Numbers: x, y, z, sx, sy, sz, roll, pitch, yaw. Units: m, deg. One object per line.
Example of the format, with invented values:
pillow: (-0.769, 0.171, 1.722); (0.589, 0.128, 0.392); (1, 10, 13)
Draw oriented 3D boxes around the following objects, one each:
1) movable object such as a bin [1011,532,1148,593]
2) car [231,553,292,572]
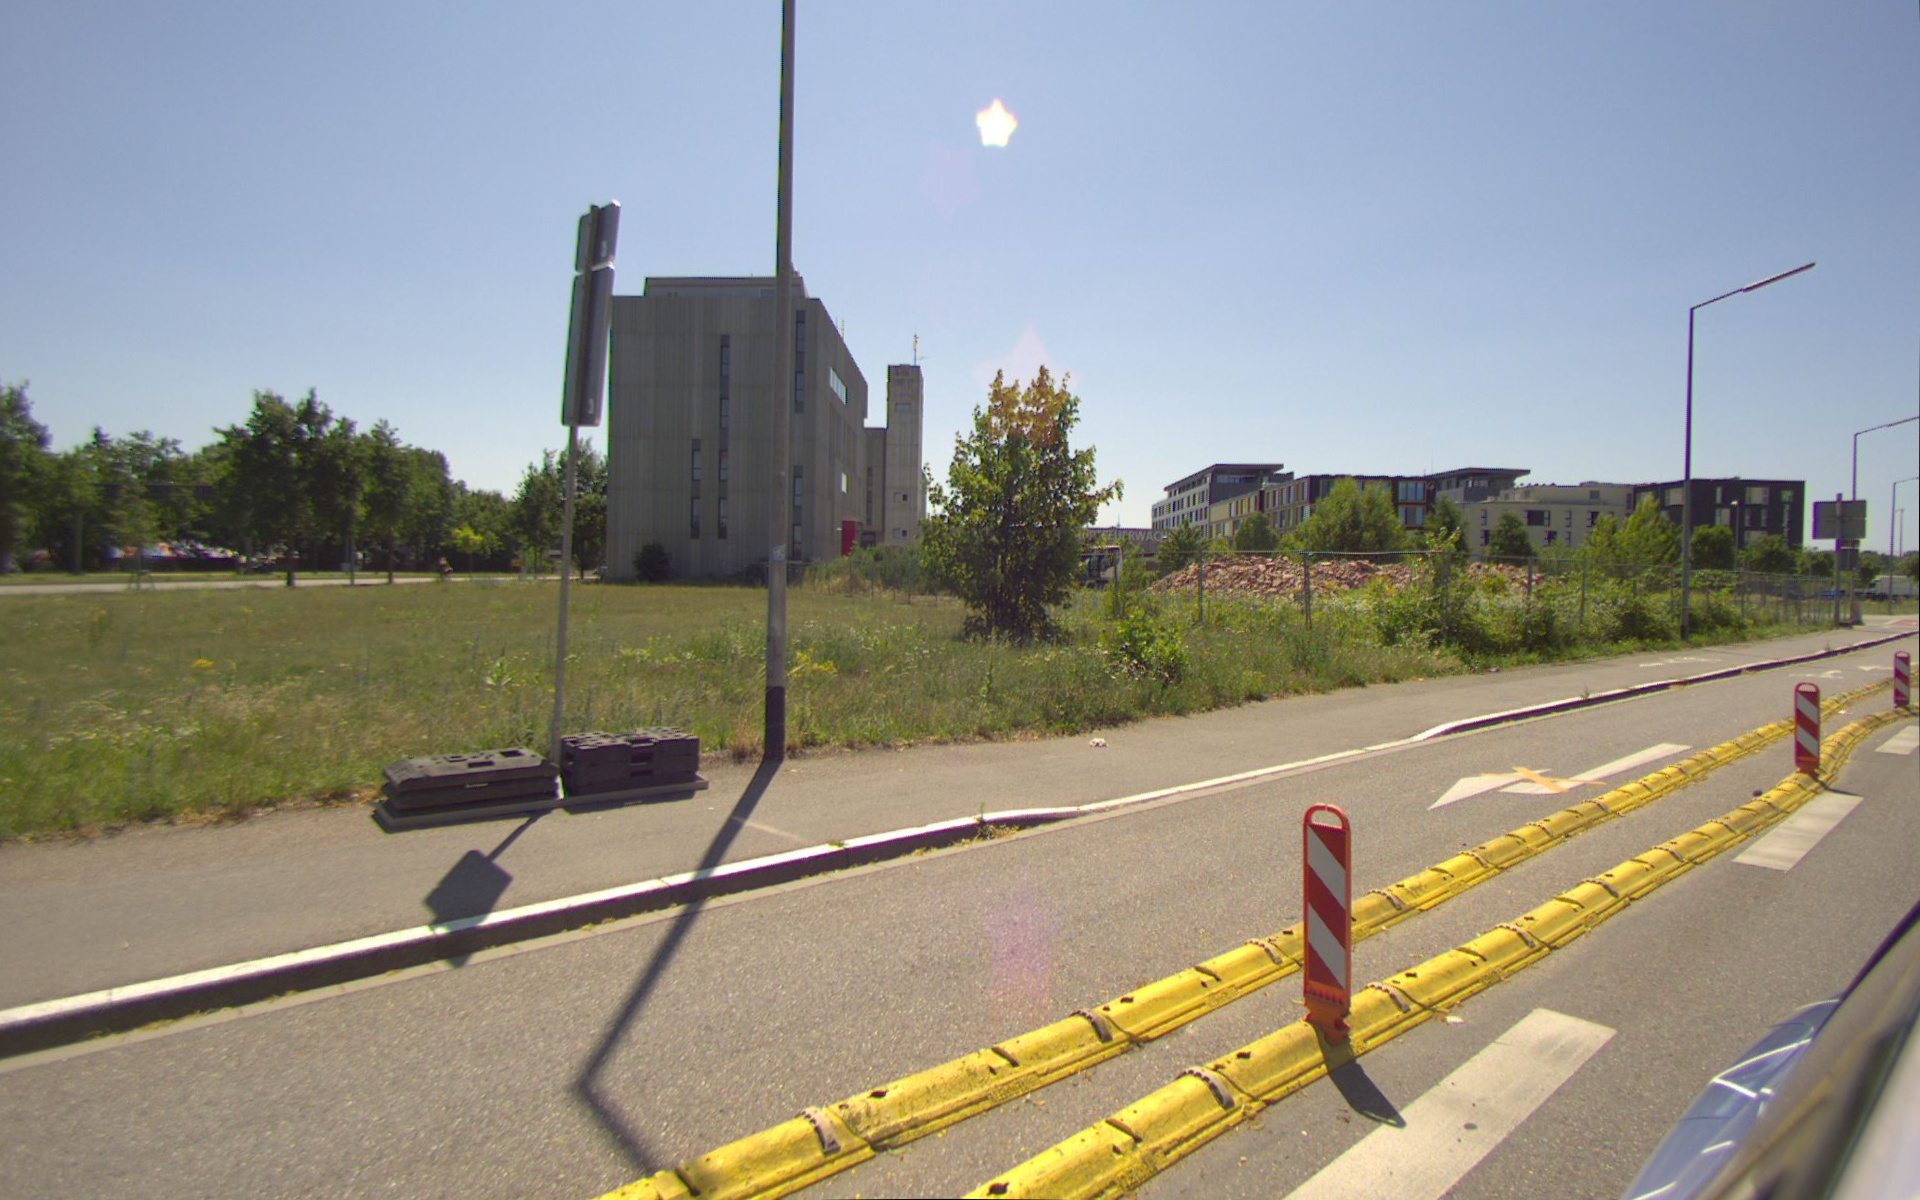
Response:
movable object such as a bin: (6.642, -2.007, 55.866); (7.459, 3.188, 2.815); (-1, 1, -34)
car: (-56.219, -2.967, 81.585); (1.830, 1.440, 4.407); (1, 1, 2)
